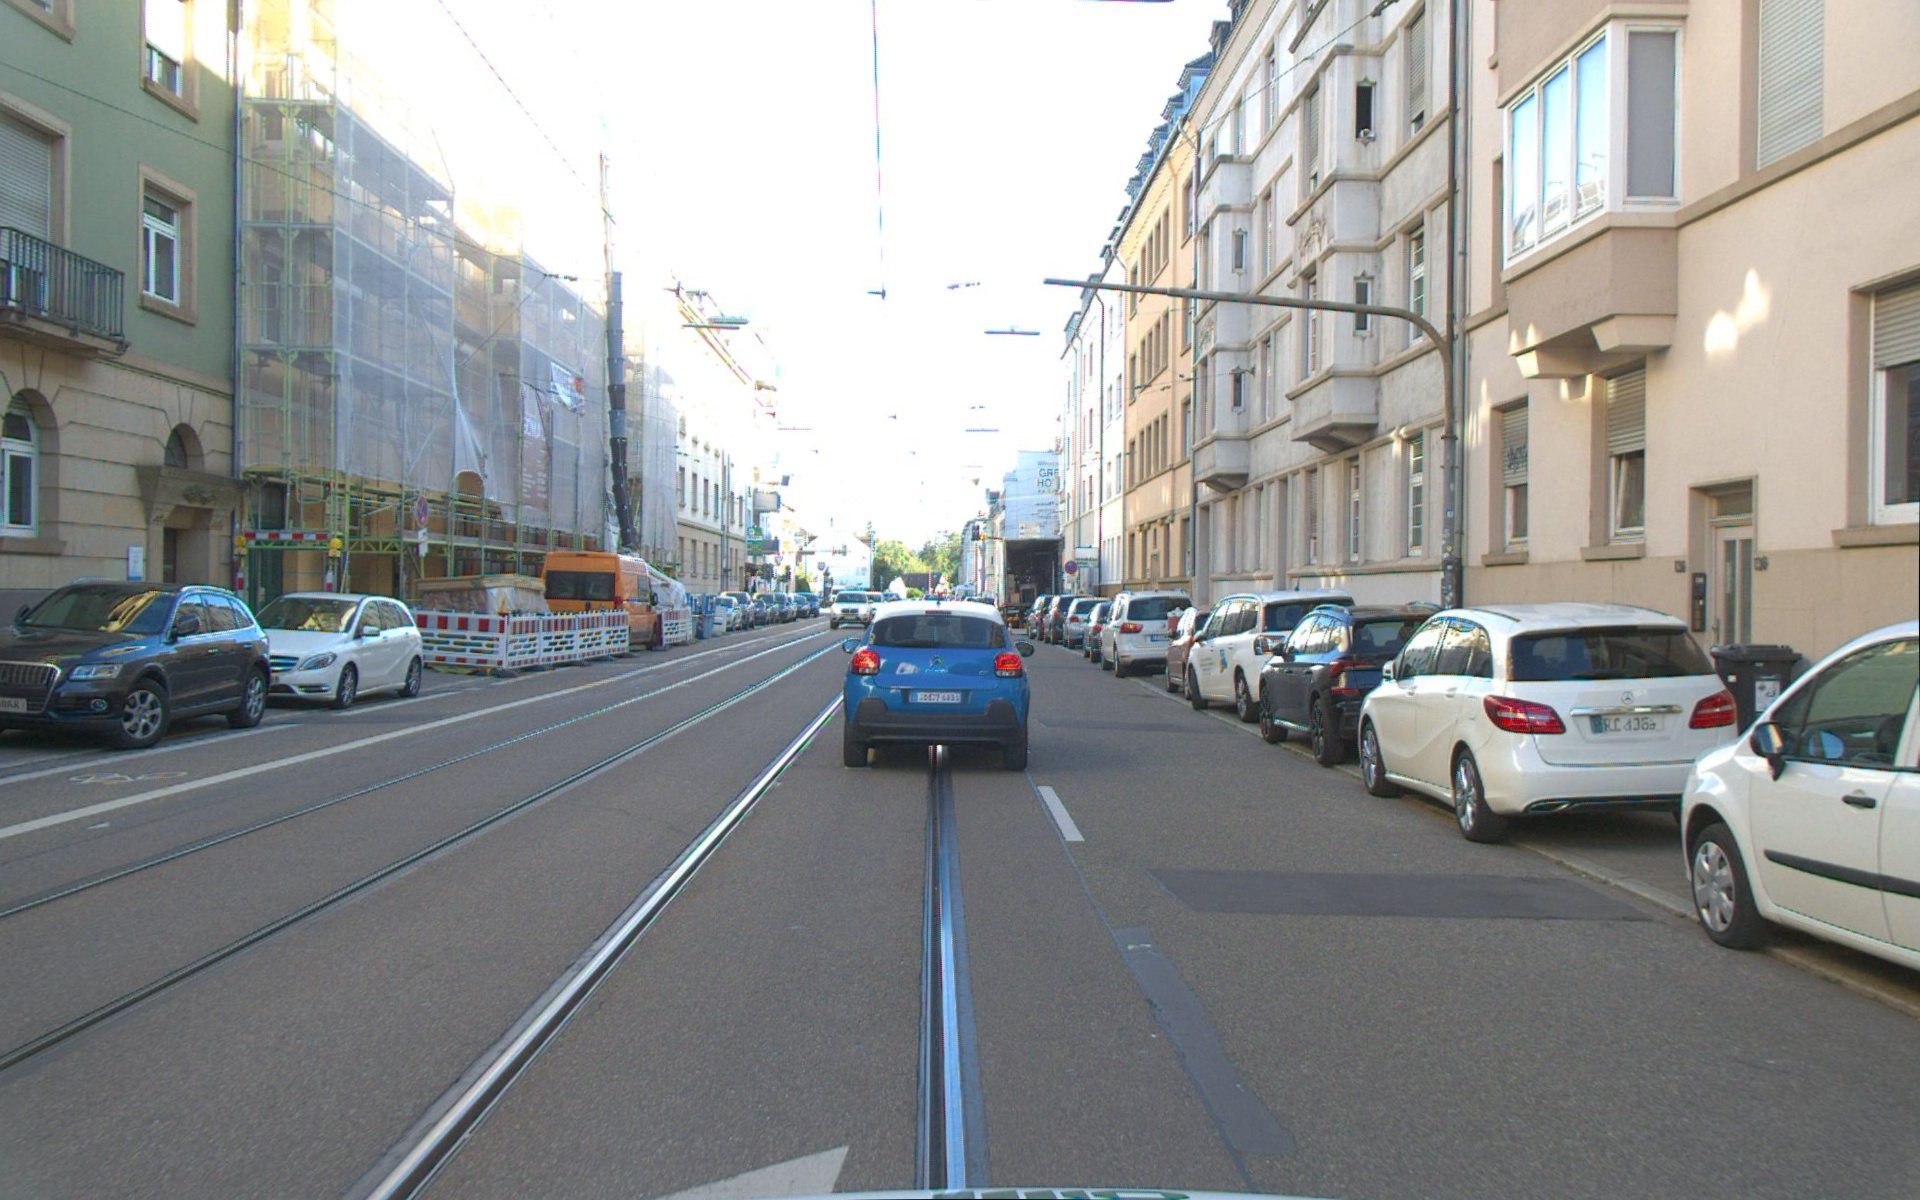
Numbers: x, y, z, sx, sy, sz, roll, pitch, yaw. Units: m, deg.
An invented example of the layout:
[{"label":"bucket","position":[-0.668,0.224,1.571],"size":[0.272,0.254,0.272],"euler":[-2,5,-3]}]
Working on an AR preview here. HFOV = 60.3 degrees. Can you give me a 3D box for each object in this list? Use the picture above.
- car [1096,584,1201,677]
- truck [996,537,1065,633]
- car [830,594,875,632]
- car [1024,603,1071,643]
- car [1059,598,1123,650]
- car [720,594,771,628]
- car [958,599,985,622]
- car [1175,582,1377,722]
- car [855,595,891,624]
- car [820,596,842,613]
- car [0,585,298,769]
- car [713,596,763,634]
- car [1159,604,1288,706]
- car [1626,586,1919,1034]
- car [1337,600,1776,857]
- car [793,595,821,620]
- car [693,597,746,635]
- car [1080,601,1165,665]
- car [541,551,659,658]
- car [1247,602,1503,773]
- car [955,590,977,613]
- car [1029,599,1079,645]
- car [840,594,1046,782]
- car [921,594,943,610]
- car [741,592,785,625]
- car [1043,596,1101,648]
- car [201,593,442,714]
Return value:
[{"label":"car","position":[4.000,0.610,35.725],"size":[1.695,1.859,4.686],"euler":[0,0,-1]},{"label":"truck","position":[3.184,-0.671,77.611],"size":[2.794,4.154,11.271],"euler":[0,0,0]},{"label":"car","position":[-4.919,0.573,75.954],"size":[1.788,1.660,4.490],"euler":[0,0,-1]},{"label":"car","position":[3.501,0.892,66.390],"size":[1.630,1.513,4.031],"euler":[0,0,-1]},{"label":"car","position":[3.998,0.709,50.997],"size":[1.630,1.546,4.221],"euler":[0,0,-1]},{"label":"car","position":[-10.621,0.520,82.074],"size":[2.101,1.650,3.999],"euler":[0,0,-1]},{"label":"car","position":[0.732,0.692,110.721],"size":[1.729,1.513,4.031],"euler":[0,0,-1]},{"label":"car","position":[4.333,0.659,23.416],"size":[1.622,1.782,4.598],"euler":[0,0,-5]},{"label":"car","position":[-5.030,0.543,95.955],"size":[1.863,1.660,4.266],"euler":[0,0,-1]},{"label":"car","position":[-12.632,0.402,162.389],"size":[1.863,1.660,4.266],"euler":[0,0,-1]},{"label":"car","position":[-8.876,0.712,17.837],"size":[1.748,1.655,4.606],"euler":[2,0,-3]},{"label":"car","position":[-9.929,0.645,74.106],"size":[1.679,1.622,4.266],"euler":[0,0,-1]},{"label":"car","position":[4.374,0.876,27.921],"size":[1.581,1.588,3.599],"euler":[0,0,-1]},{"label":"car","position":[4.428,0.781,6.798],"size":[1.747,1.660,3.999],"euler":[0,0,-1]},{"label":"car","position":[4.251,0.813,12.571],"size":[1.747,1.603,4.326],"euler":[0,0,-1]},{"label":"car","position":[-10.550,0.522,114.234],"size":[1.789,1.660,3.902],"euler":[0,0,-3]},{"label":"car","position":[-10.096,0.664,69.576],"size":[1.679,1.544,4.047],"euler":[0,0,-1]},{"label":"car","position":[4.019,0.782,41.435],"size":[1.687,1.513,4.221],"euler":[0,0,-1]},{"label":"car","position":[-8.959,0.093,41.609],"size":[2.101,2.519,4.977],"euler":[0,0,-3]},{"label":"car","position":[4.272,0.823,17.692],"size":[1.621,1.594,4.337],"euler":[0,0,-1]},{"label":"car","position":[0.581,0.151,169.727],"size":[2.174,2.324,4.083],"euler":[0,0,-1]},{"label":"car","position":[3.479,0.793,61.910],"size":[1.630,1.661,3.870],"euler":[0,0,-1]},{"label":"car","position":[-0.161,0.743,16.130],"size":[1.700,1.533,3.992],"euler":[2,0,-1]},{"label":"car","position":[-2.713,0.171,163.249],"size":[2.136,1.513,4.159],"euler":[1,0,-1]},{"label":"car","position":[-10.416,0.443,87.852],"size":[1.788,1.660,4.848],"euler":[0,0,-1]},{"label":"car","position":[3.762,0.700,55.896],"size":[1.630,1.676,4.221],"euler":[0,0,-1]},{"label":"car","position":[-9.100,0.700,23.982],"size":[1.683,1.529,4.388],"euler":[2,0,1]}]
